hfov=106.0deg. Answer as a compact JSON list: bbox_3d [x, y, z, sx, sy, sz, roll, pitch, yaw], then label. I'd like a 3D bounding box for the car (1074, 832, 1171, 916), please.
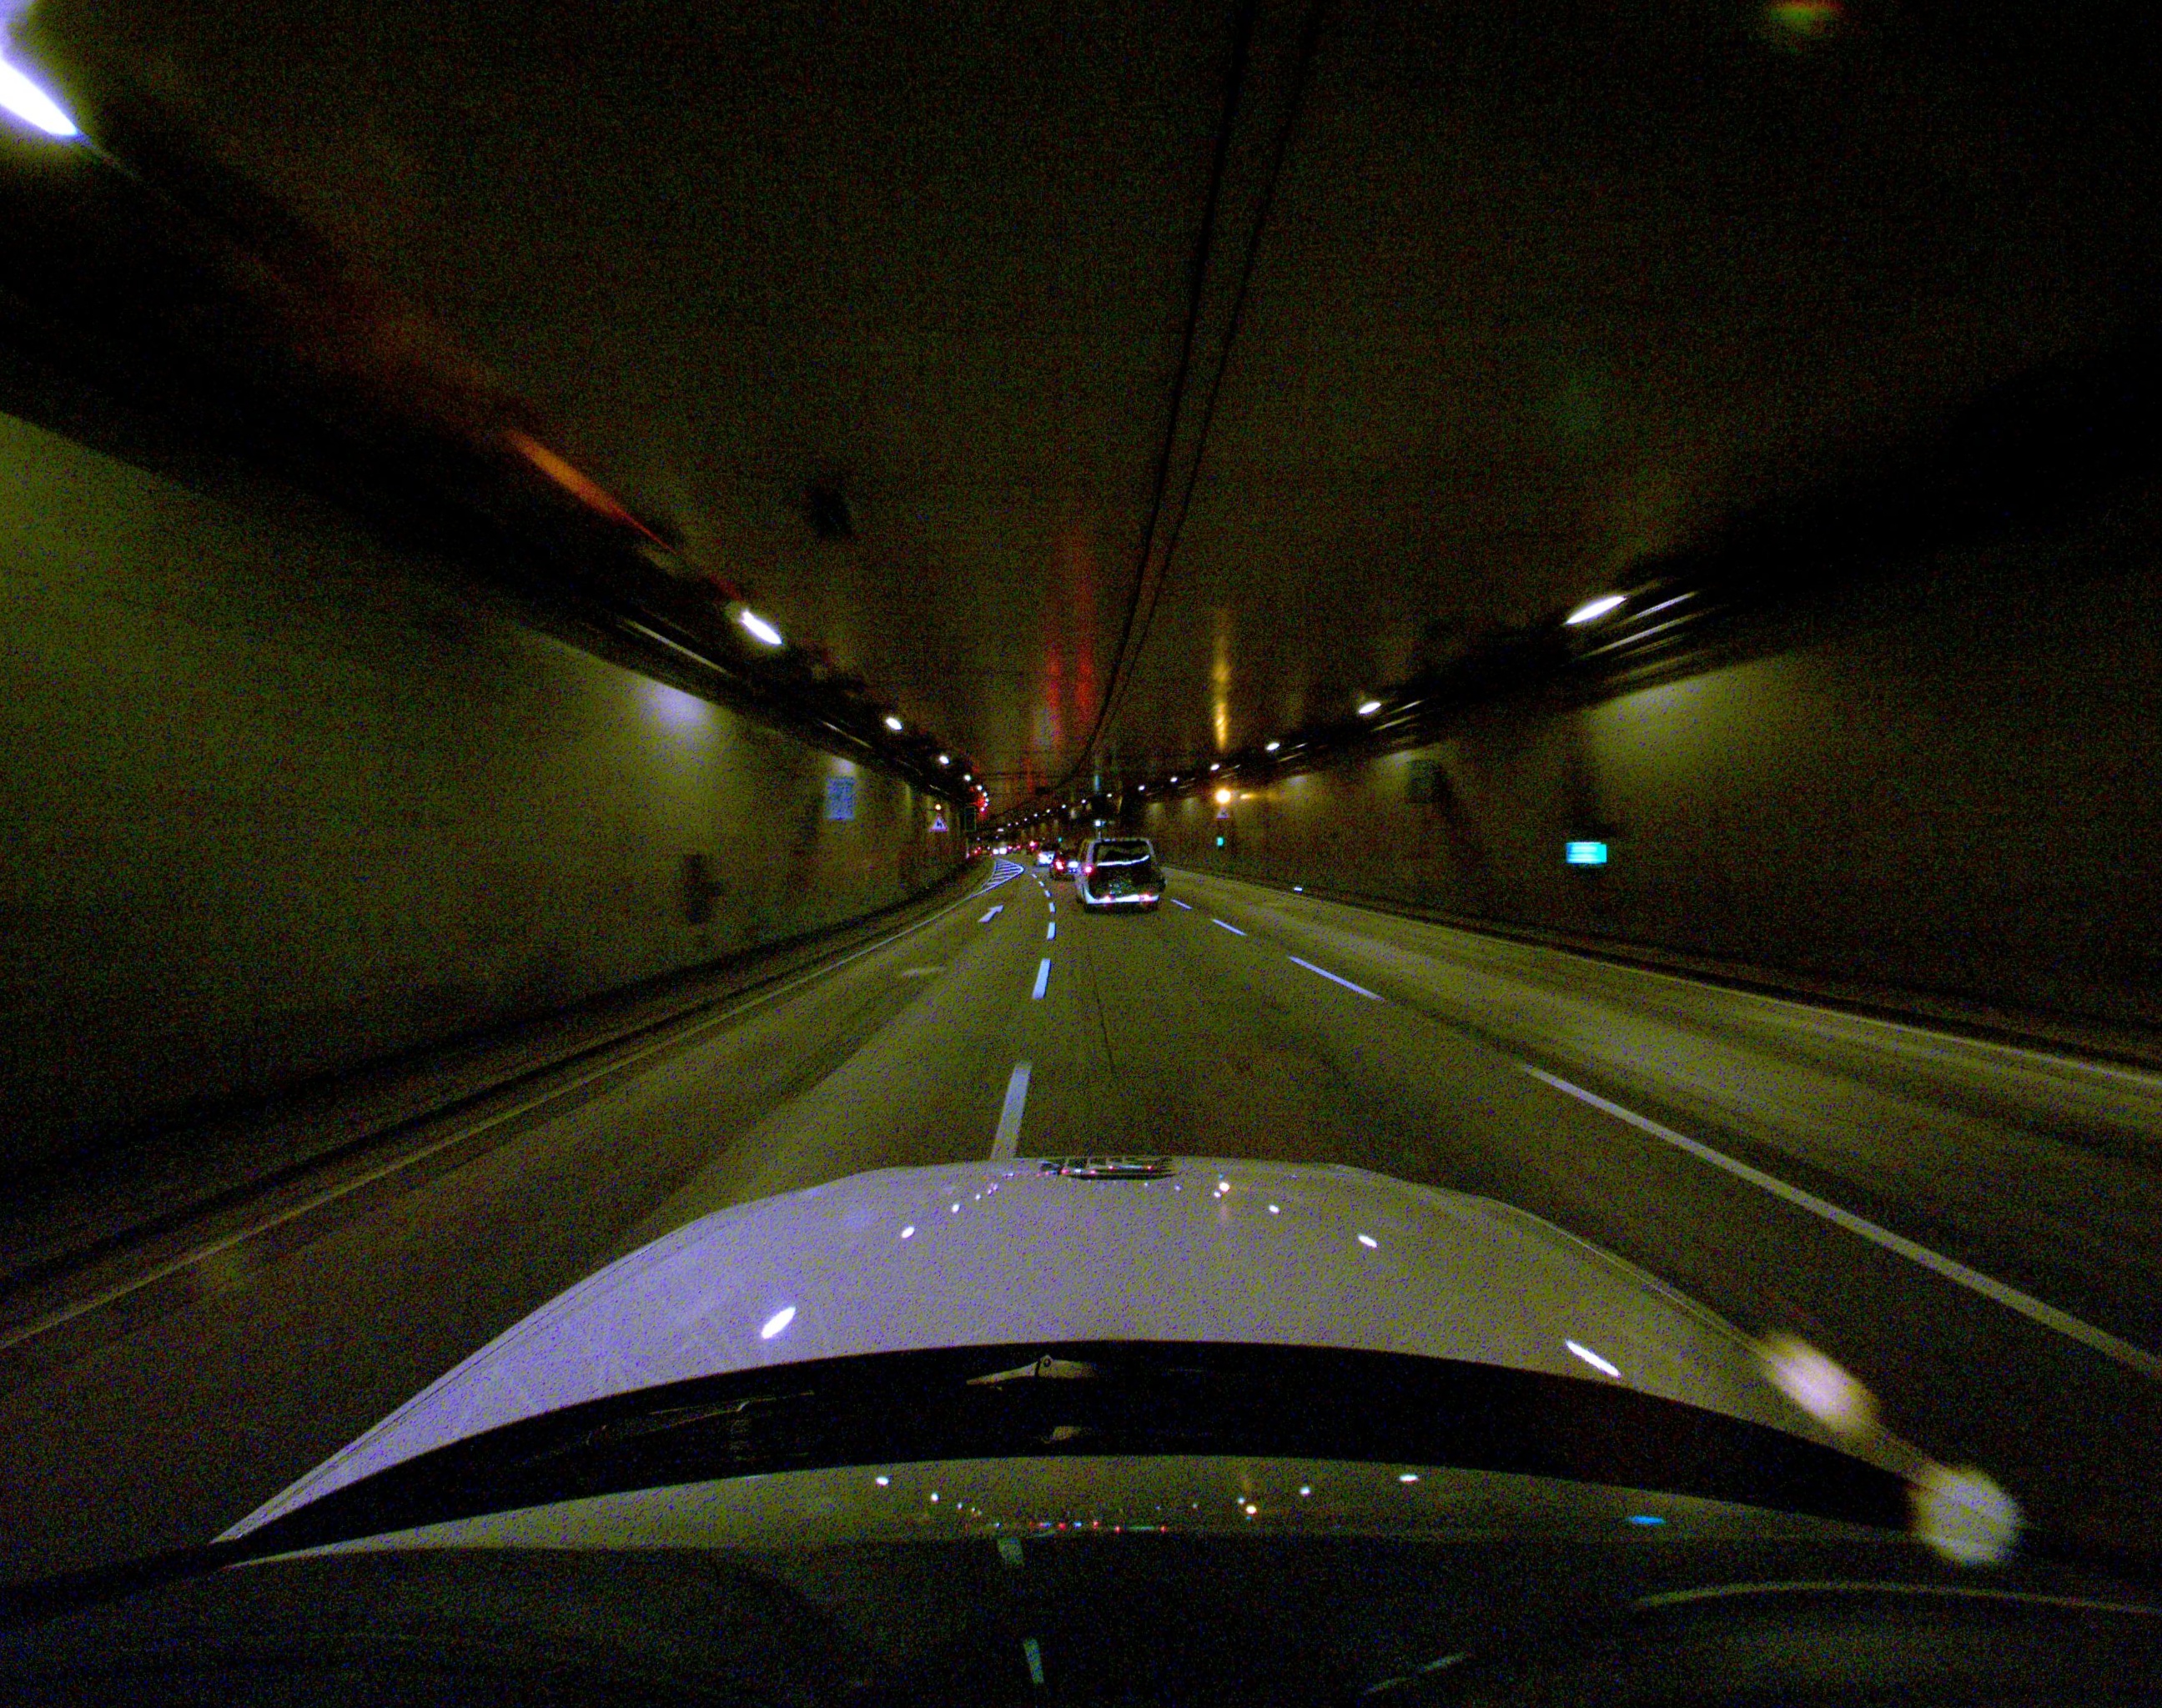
[{"bbox_3d":[0.936,0.451,21.321,1.989,1.847,5.296,-2,0,-3],"label":"car"}]

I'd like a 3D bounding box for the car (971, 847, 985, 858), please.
[{"bbox_3d":[-15.568,-0.221,122.908,1.823,1.630,3.828,0,-1,-11],"label":"car"}]

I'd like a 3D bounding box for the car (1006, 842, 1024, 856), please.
[{"bbox_3d":[-8.563,-0.645,105.278,1.823,1.630,3.828,0,-1,-11],"label":"car"}]

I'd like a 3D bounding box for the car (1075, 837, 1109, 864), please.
[{"bbox_3d":[0.741,-0.229,56.879,1.871,1.761,3.990,0,-1,-7],"label":"car"}]

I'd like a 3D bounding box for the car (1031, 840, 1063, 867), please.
[{"bbox_3d":[-2.160,-0.027,50.850,1.602,1.594,3.345,2,0,-9],"label":"car"}]

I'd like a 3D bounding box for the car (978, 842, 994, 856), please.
[{"bbox_3d":[-12.358,-0.620,105.642,1.822,1.630,3.830,0,-1,-10],"label":"car"}]

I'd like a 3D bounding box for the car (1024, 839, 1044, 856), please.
[{"bbox_3d":[-4.738,-0.654,81.602,1.604,1.630,3.341,0,-1,-12],"label":"car"}]

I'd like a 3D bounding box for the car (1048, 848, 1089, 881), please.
[{"bbox_3d":[-0.602,0.436,36.830,1.600,1.395,3.271,-1,1,-5],"label":"car"}]
